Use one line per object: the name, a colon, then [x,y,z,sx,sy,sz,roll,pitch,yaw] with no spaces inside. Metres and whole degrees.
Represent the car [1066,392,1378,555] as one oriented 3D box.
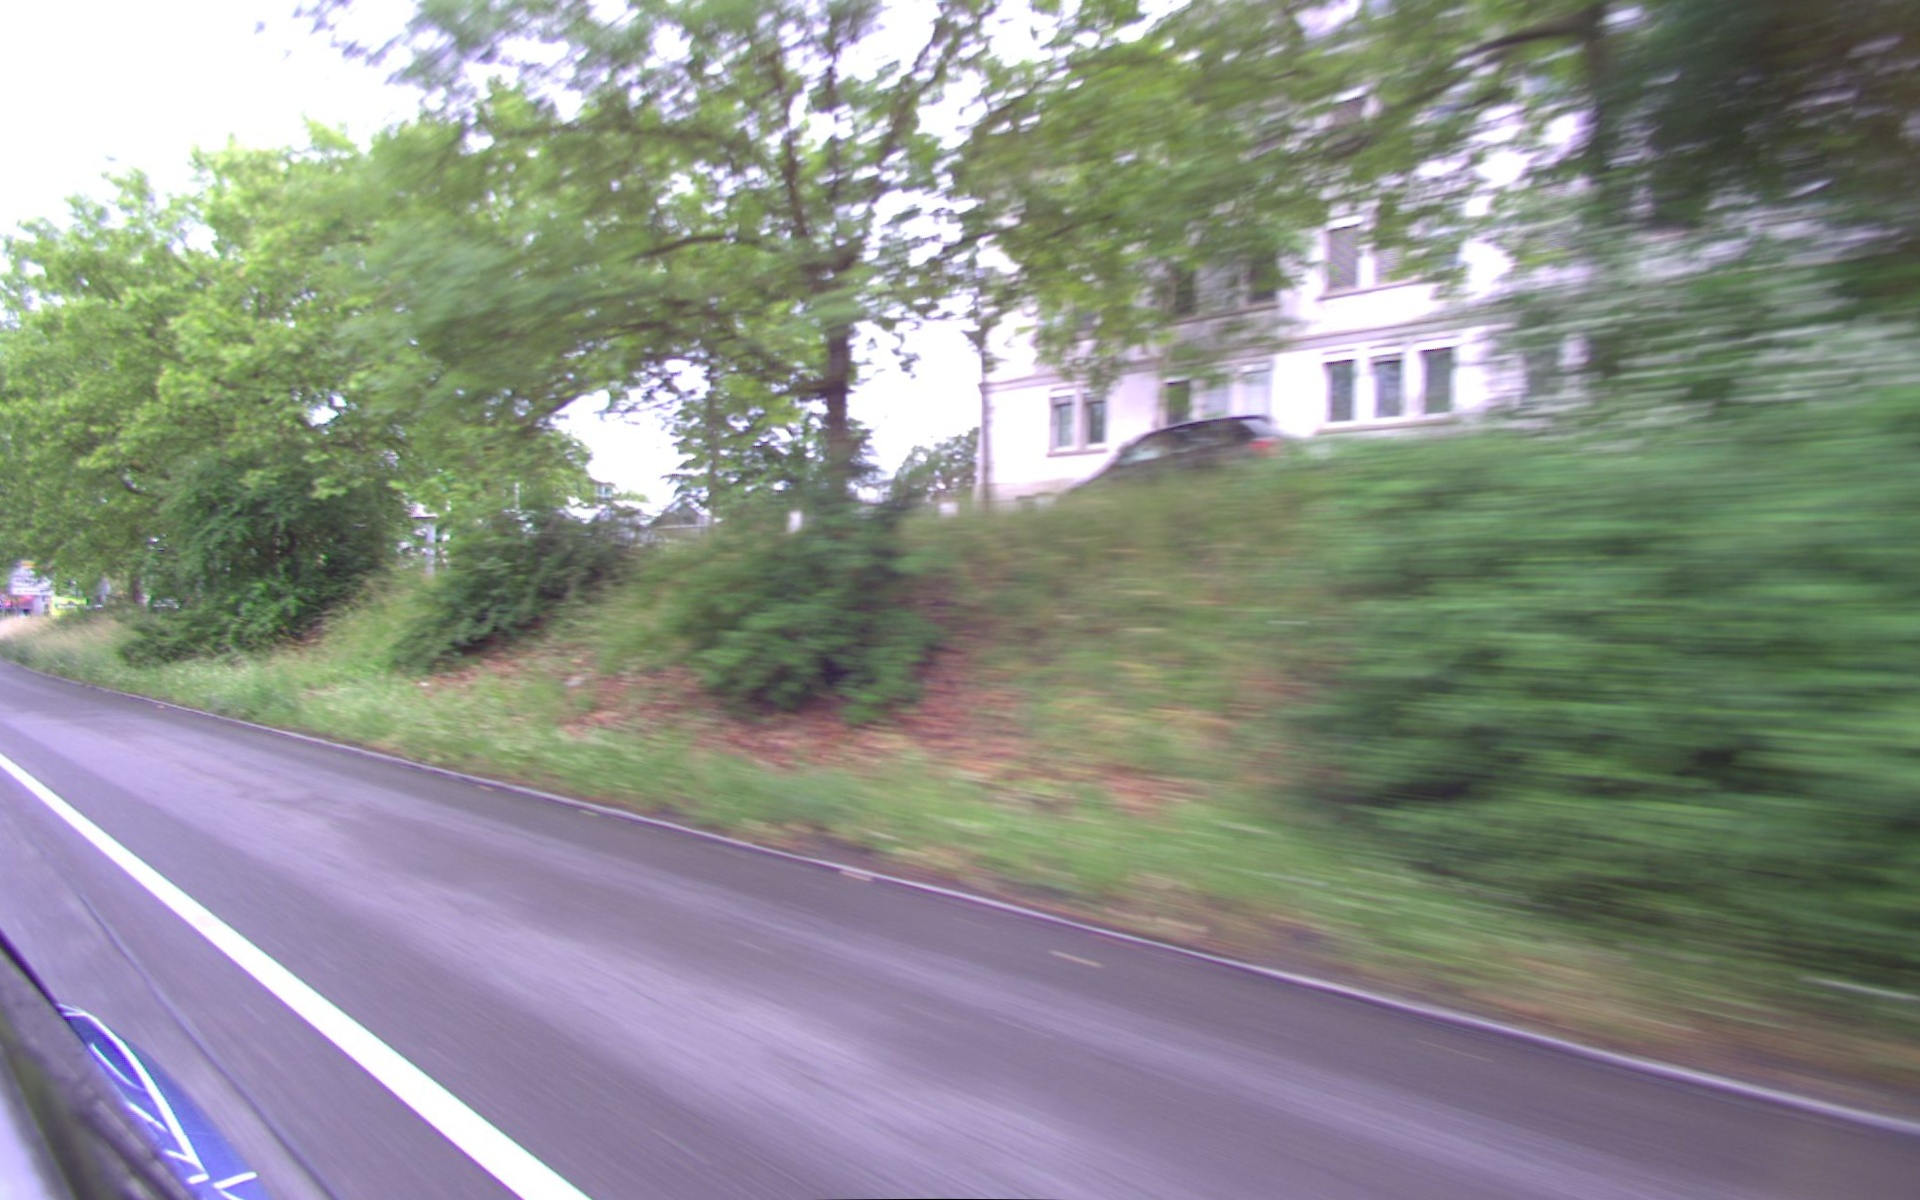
car: [3.769,-1.695,14.897,3.998,1.858,1.973,-1,0,41]
